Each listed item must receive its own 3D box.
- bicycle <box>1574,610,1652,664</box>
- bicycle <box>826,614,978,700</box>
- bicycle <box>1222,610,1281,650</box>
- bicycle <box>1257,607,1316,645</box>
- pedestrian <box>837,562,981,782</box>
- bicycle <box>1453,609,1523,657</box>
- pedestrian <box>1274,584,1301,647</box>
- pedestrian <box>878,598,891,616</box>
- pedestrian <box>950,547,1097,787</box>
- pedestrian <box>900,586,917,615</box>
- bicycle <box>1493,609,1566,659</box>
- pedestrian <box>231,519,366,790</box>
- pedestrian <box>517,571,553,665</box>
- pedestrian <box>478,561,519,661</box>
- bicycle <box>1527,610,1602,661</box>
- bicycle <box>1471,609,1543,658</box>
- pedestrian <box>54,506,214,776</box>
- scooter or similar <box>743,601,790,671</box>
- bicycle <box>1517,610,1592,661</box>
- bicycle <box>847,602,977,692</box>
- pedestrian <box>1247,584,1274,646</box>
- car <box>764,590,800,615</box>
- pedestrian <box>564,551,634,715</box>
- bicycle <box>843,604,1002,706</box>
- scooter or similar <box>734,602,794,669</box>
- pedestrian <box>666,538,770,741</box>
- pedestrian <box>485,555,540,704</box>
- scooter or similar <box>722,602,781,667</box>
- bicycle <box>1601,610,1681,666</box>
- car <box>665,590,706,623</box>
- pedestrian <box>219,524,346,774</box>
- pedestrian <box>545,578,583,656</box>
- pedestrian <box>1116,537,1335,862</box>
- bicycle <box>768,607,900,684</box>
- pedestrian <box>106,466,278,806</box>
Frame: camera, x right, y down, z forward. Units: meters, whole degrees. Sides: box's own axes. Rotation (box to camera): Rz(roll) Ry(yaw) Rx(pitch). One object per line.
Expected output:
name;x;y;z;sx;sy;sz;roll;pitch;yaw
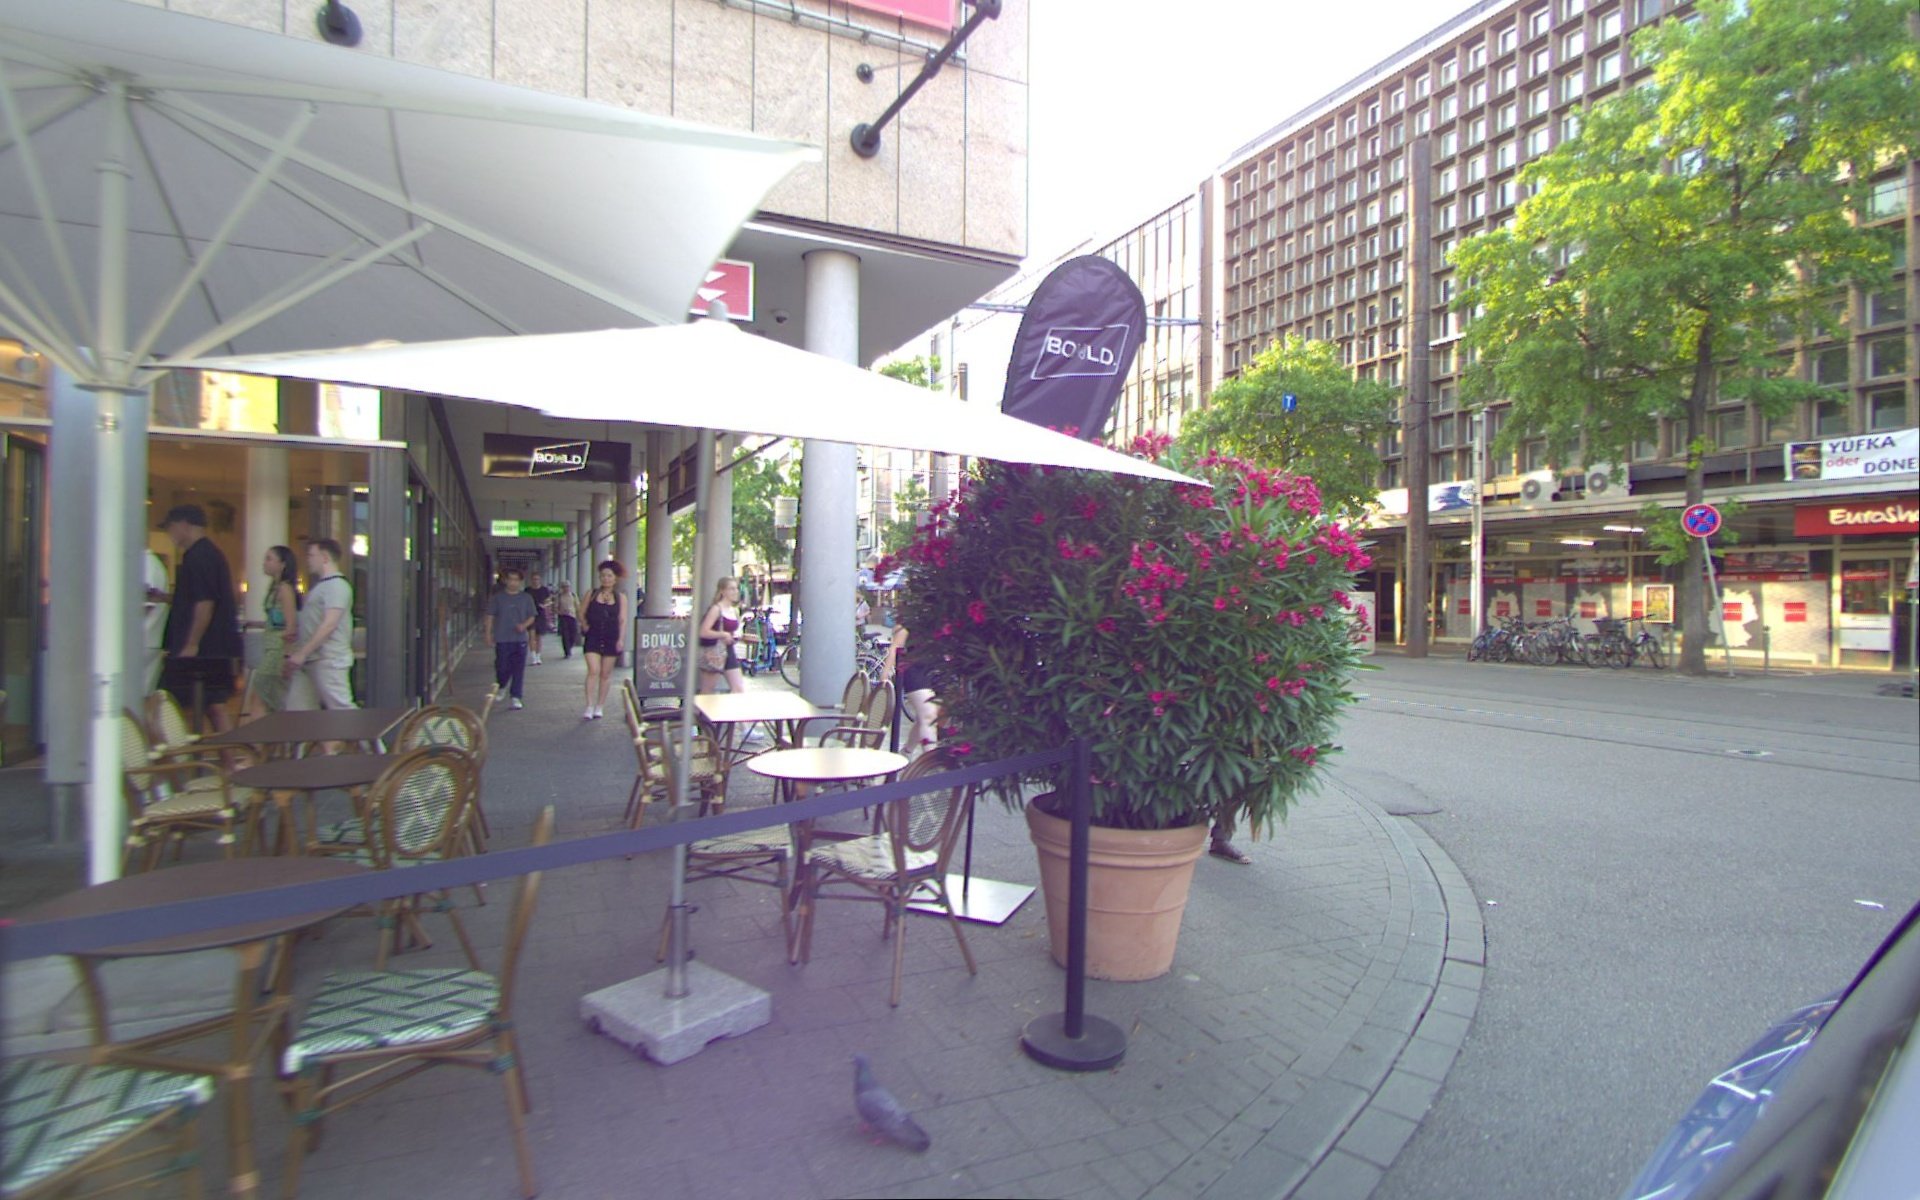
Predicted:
bicycle;13.698;0.759;21.209;1.741;1.058;0.490;-1;0;-24
bicycle;-0.779;0.781;13.756;1.882;1.091;0.764;3;-2;-29
bicycle;8.120;0.815;28.285;0.479;1.058;1.780;0;0;-27
bicycle;9.370;0.737;29.069;0.479;1.058;1.780;0;0;-27
pedestrian;-0.401;0.516;7.712;0.789;1.556;0.811;2;-1;-29
bicycle;12.466;0.762;23.889;1.741;1.058;0.490;-1;0;-24
pedestrian;9.075;0.421;28.063;0.592;1.721;0.535;-1;-1;5
pedestrian;-5.267;0.484;70.630;0.630;1.171;0.667;-2;1;-27
pedestrian;0.476;0.485;7.785;0.789;1.716;0.811;2;-1;-29
pedestrian;-3.278;0.010;64.173;0.672;1.815;0.992;-2;1;-24
bicycle;12.900;0.761;22.917;1.741;1.058;0.490;-1;0;-24
pedestrian;-4.682;0.365;7.208;0.651;1.809;0.720;2;-1;-24
pedestrian;-8.231;0.338;19.603;0.572;1.775;0.775;2;-1;-25
pedestrian;-9.005;0.216;19.746;0.675;1.907;0.775;2;-1;-25
bicycle;13.258;0.763;22.176;1.741;1.058;0.490;-1;0;-24
bicycle;12.666;0.755;23.439;1.741;1.058;0.490;-1;0;-24
pedestrian;-6.048;0.289;7.453;0.651;1.872;0.721;2;-1;-19
scooter or similar;-3.611;0.664;18.988;0.387;1.267;1.186;1;-1;13
bicycle;13.161;0.766;22.399;1.741;1.058;0.490;-1;0;-24
bicycle;-0.751;0.740;15.960;1.882;1.350;0.726;3;-2;-29
pedestrian;8.428;0.419;28.374;0.592;1.721;0.535;-1;-1;5
car;-14.194;0.220;80.600;1.794;1.844;4.337;-3;1;-23
pedestrian;-4.022;0.358;11.258;0.624;1.753;0.618;2;-1;-26
bicycle;-0.471;0.706;13.075;1.882;1.238;0.764;3;-2;-29
scooter or similar;-3.781;0.679;19.605;0.391;1.267;1.175;0;-2;36
pedestrian;-2.270;0.352;9.434;0.759;1.795;0.775;2;-1;-25
pedestrian;-5.457;0.350;12.331;0.560;1.753;0.618;2;-1;-25
scooter or similar;-4.176;0.687;20.306;0.493;1.267;1.101;0;-2;35
bicycle;13.905;0.759;20.664;1.741;1.058;0.490;-1;0;-24
car;-17.666;0.408;64.968;1.958;2.039;4.007;1;0;-24
pedestrian;-5.188;0.359;7.798;0.651;1.809;0.720;2;-1;-24
pedestrian;-8.700;0.367;22.223;0.675;1.679;0.775;2;-1;-25
pedestrian;1.547;0.523;5.990;0.757;1.719;0.997;0;0;-33
bicycle;-2.033;0.747;16.419;1.962;1.170;0.726;3;-2;-29
pedestrian;-4.942;0.218;6.571;0.674;2.039;0.784;2;-1;-24
